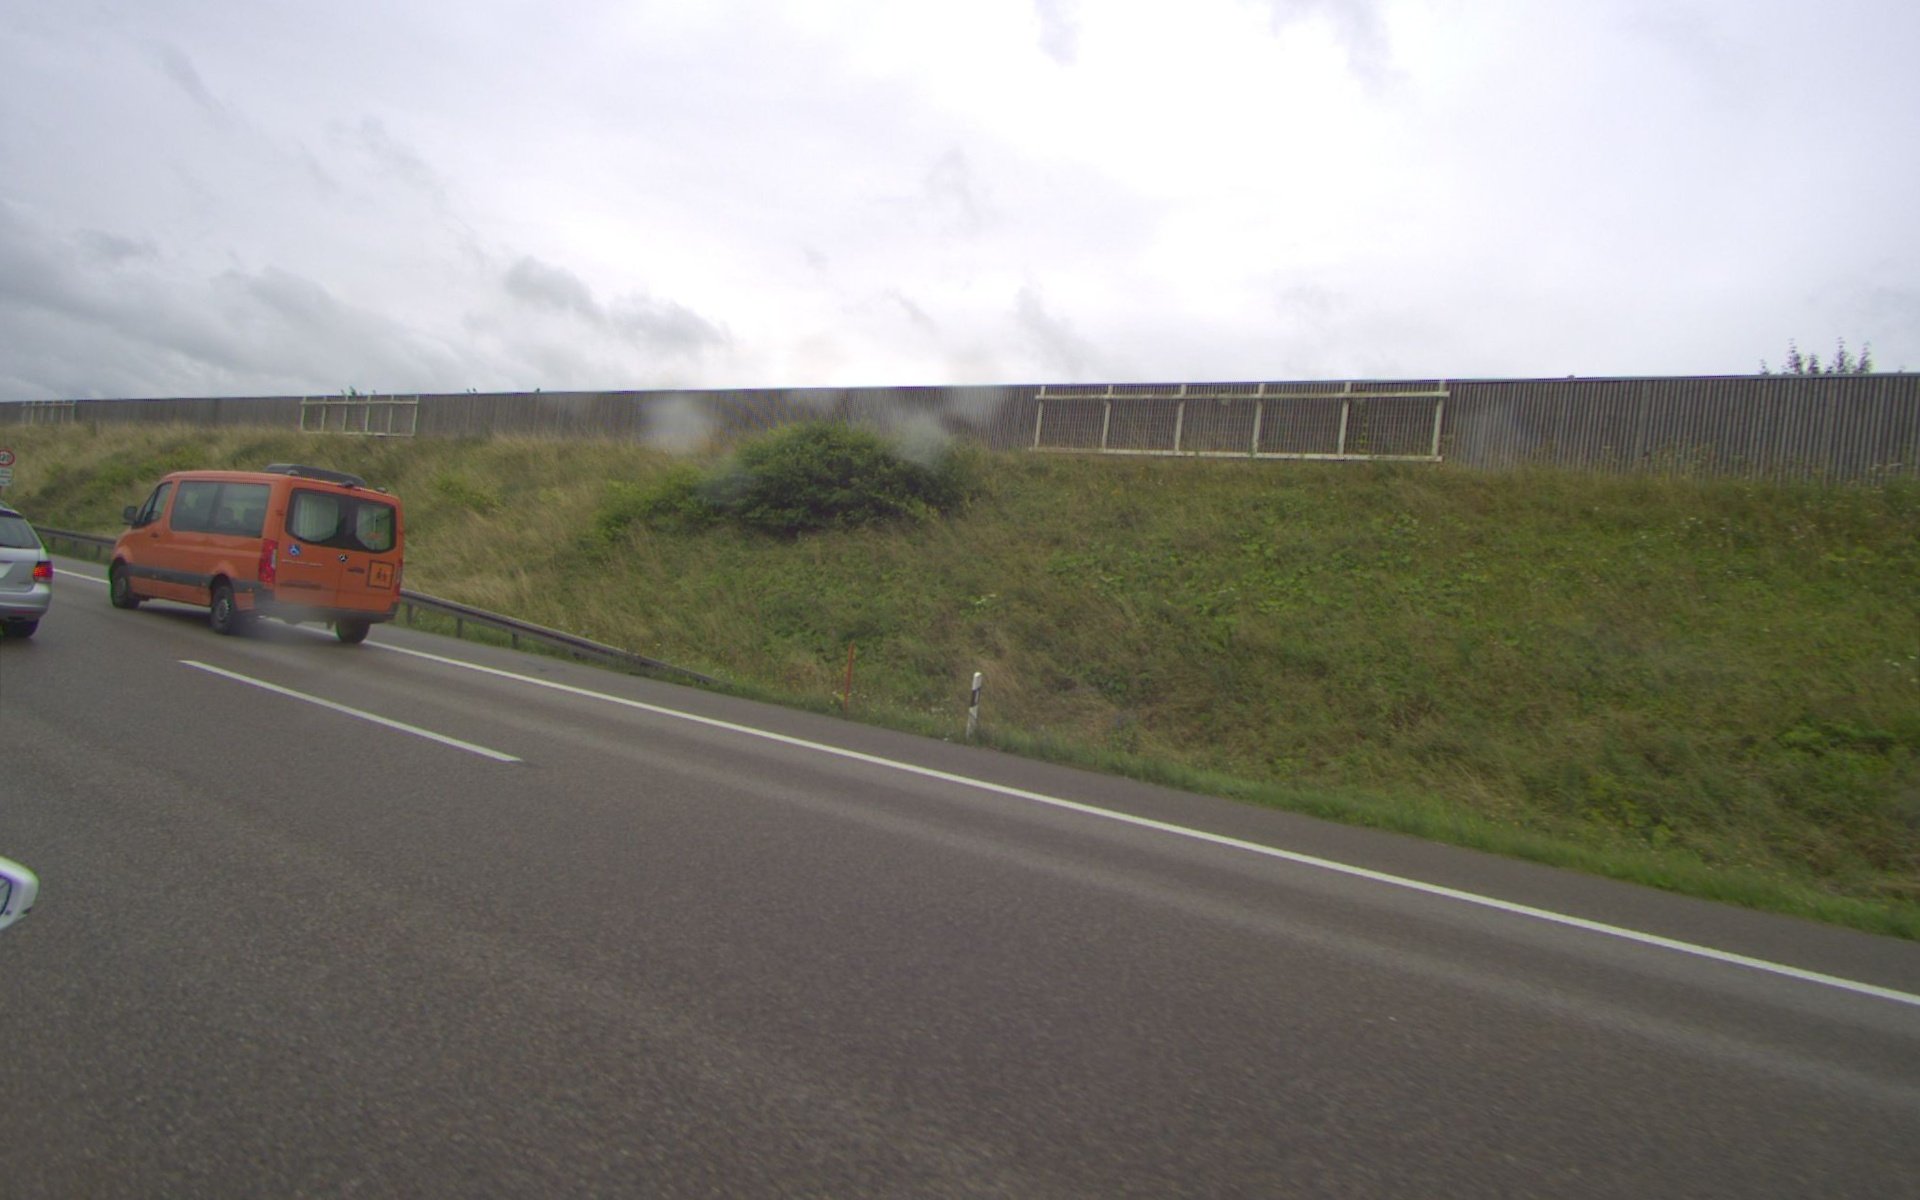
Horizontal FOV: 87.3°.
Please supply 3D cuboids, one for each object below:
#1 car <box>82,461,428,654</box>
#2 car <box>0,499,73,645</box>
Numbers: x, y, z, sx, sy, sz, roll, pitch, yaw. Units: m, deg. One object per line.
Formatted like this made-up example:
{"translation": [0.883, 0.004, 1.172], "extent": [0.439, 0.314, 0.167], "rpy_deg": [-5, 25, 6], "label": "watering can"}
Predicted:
{"translation": [-11.343, -0.743, 16.020], "extent": [6.078, 2.343, 2.089], "rpy_deg": [7, -1, 31], "label": "car"}
{"translation": [-11.708, -0.523, 11.008], "extent": [4.442, 1.442, 1.744], "rpy_deg": [7, 0, 32], "label": "car"}
